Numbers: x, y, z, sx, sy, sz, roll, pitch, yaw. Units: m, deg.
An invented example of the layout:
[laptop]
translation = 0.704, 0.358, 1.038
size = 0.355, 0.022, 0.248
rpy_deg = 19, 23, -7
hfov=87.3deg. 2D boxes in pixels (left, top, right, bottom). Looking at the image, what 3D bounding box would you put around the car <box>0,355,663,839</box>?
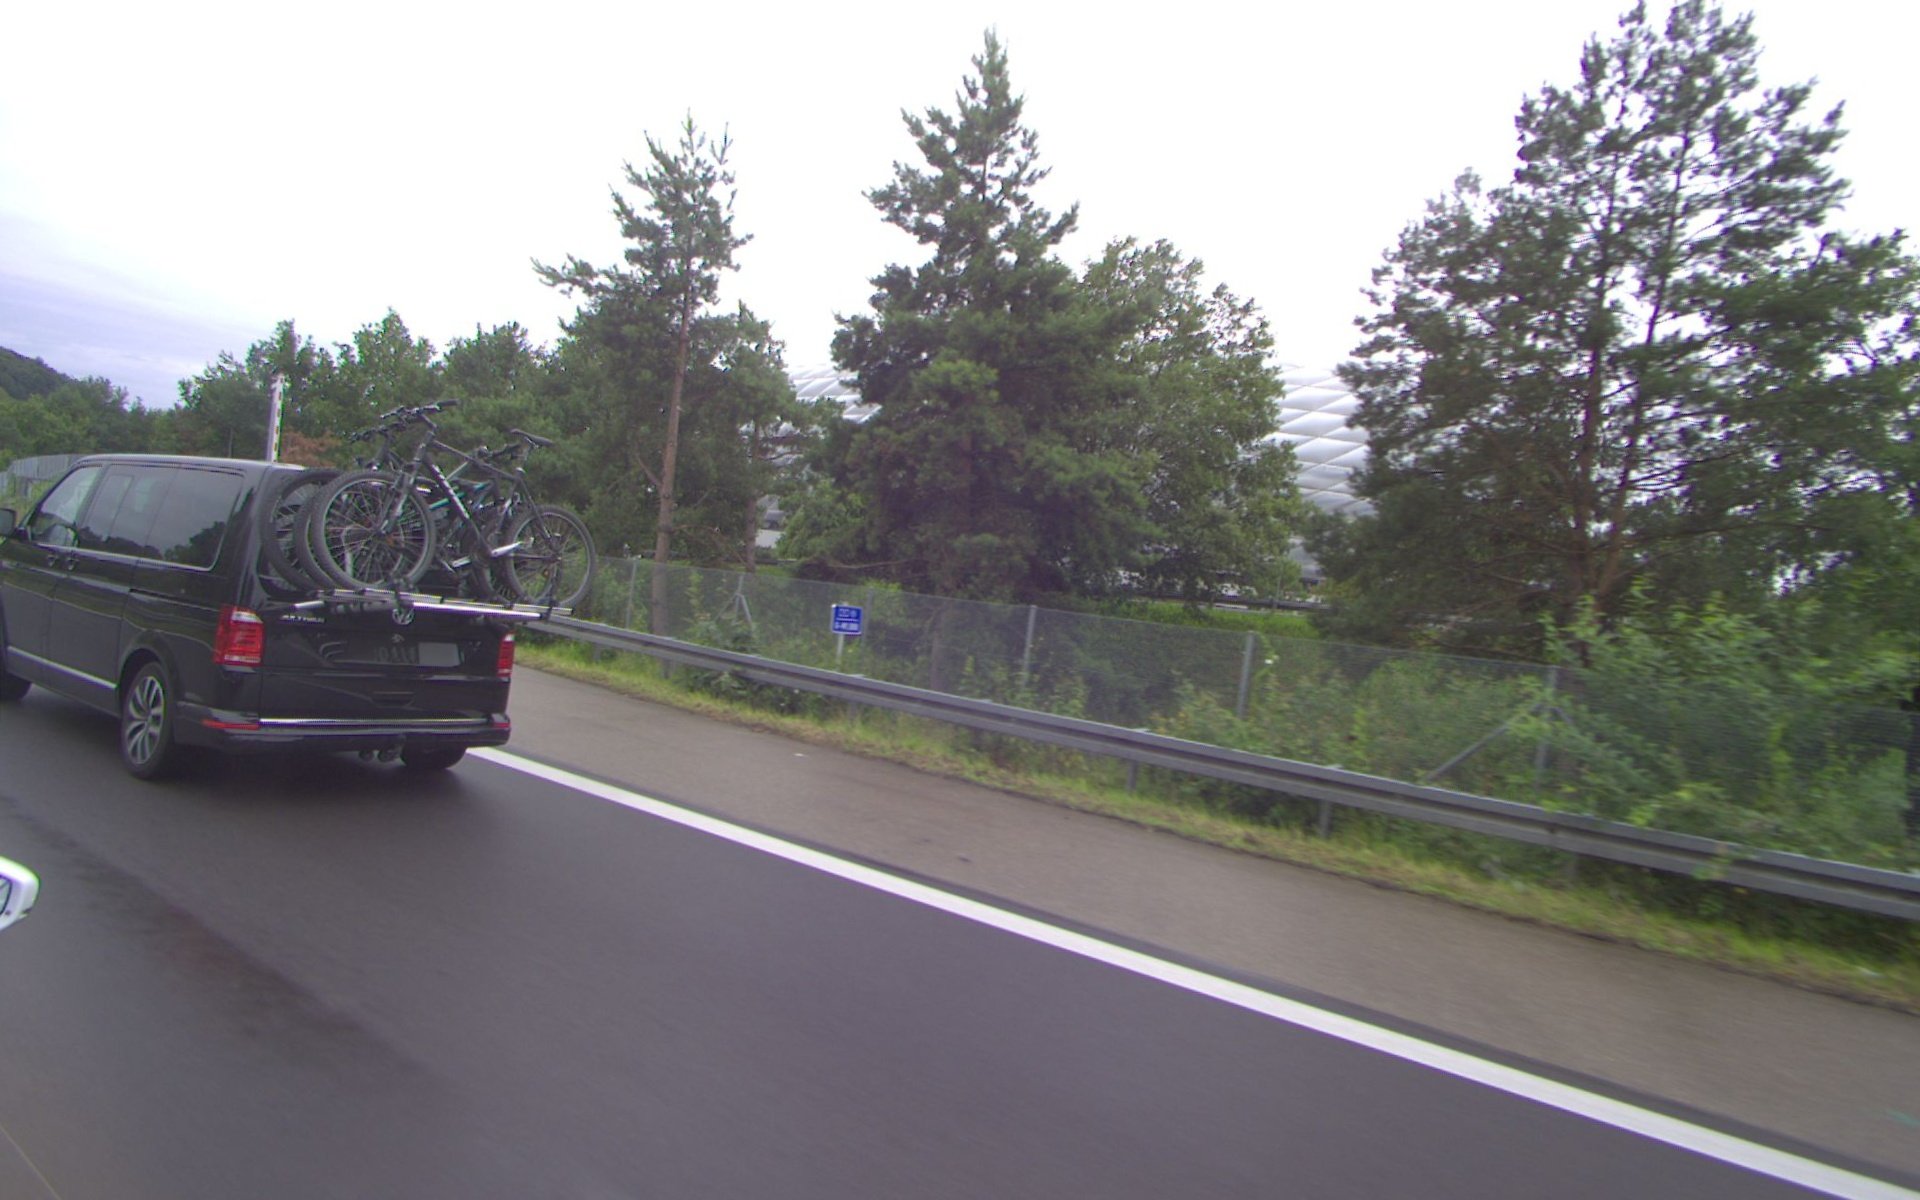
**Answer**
[car]
translation = -5.041, -0.199, 7.197
size = 5.800, 2.290, 2.114
rpy_deg = 7, -2, 33
